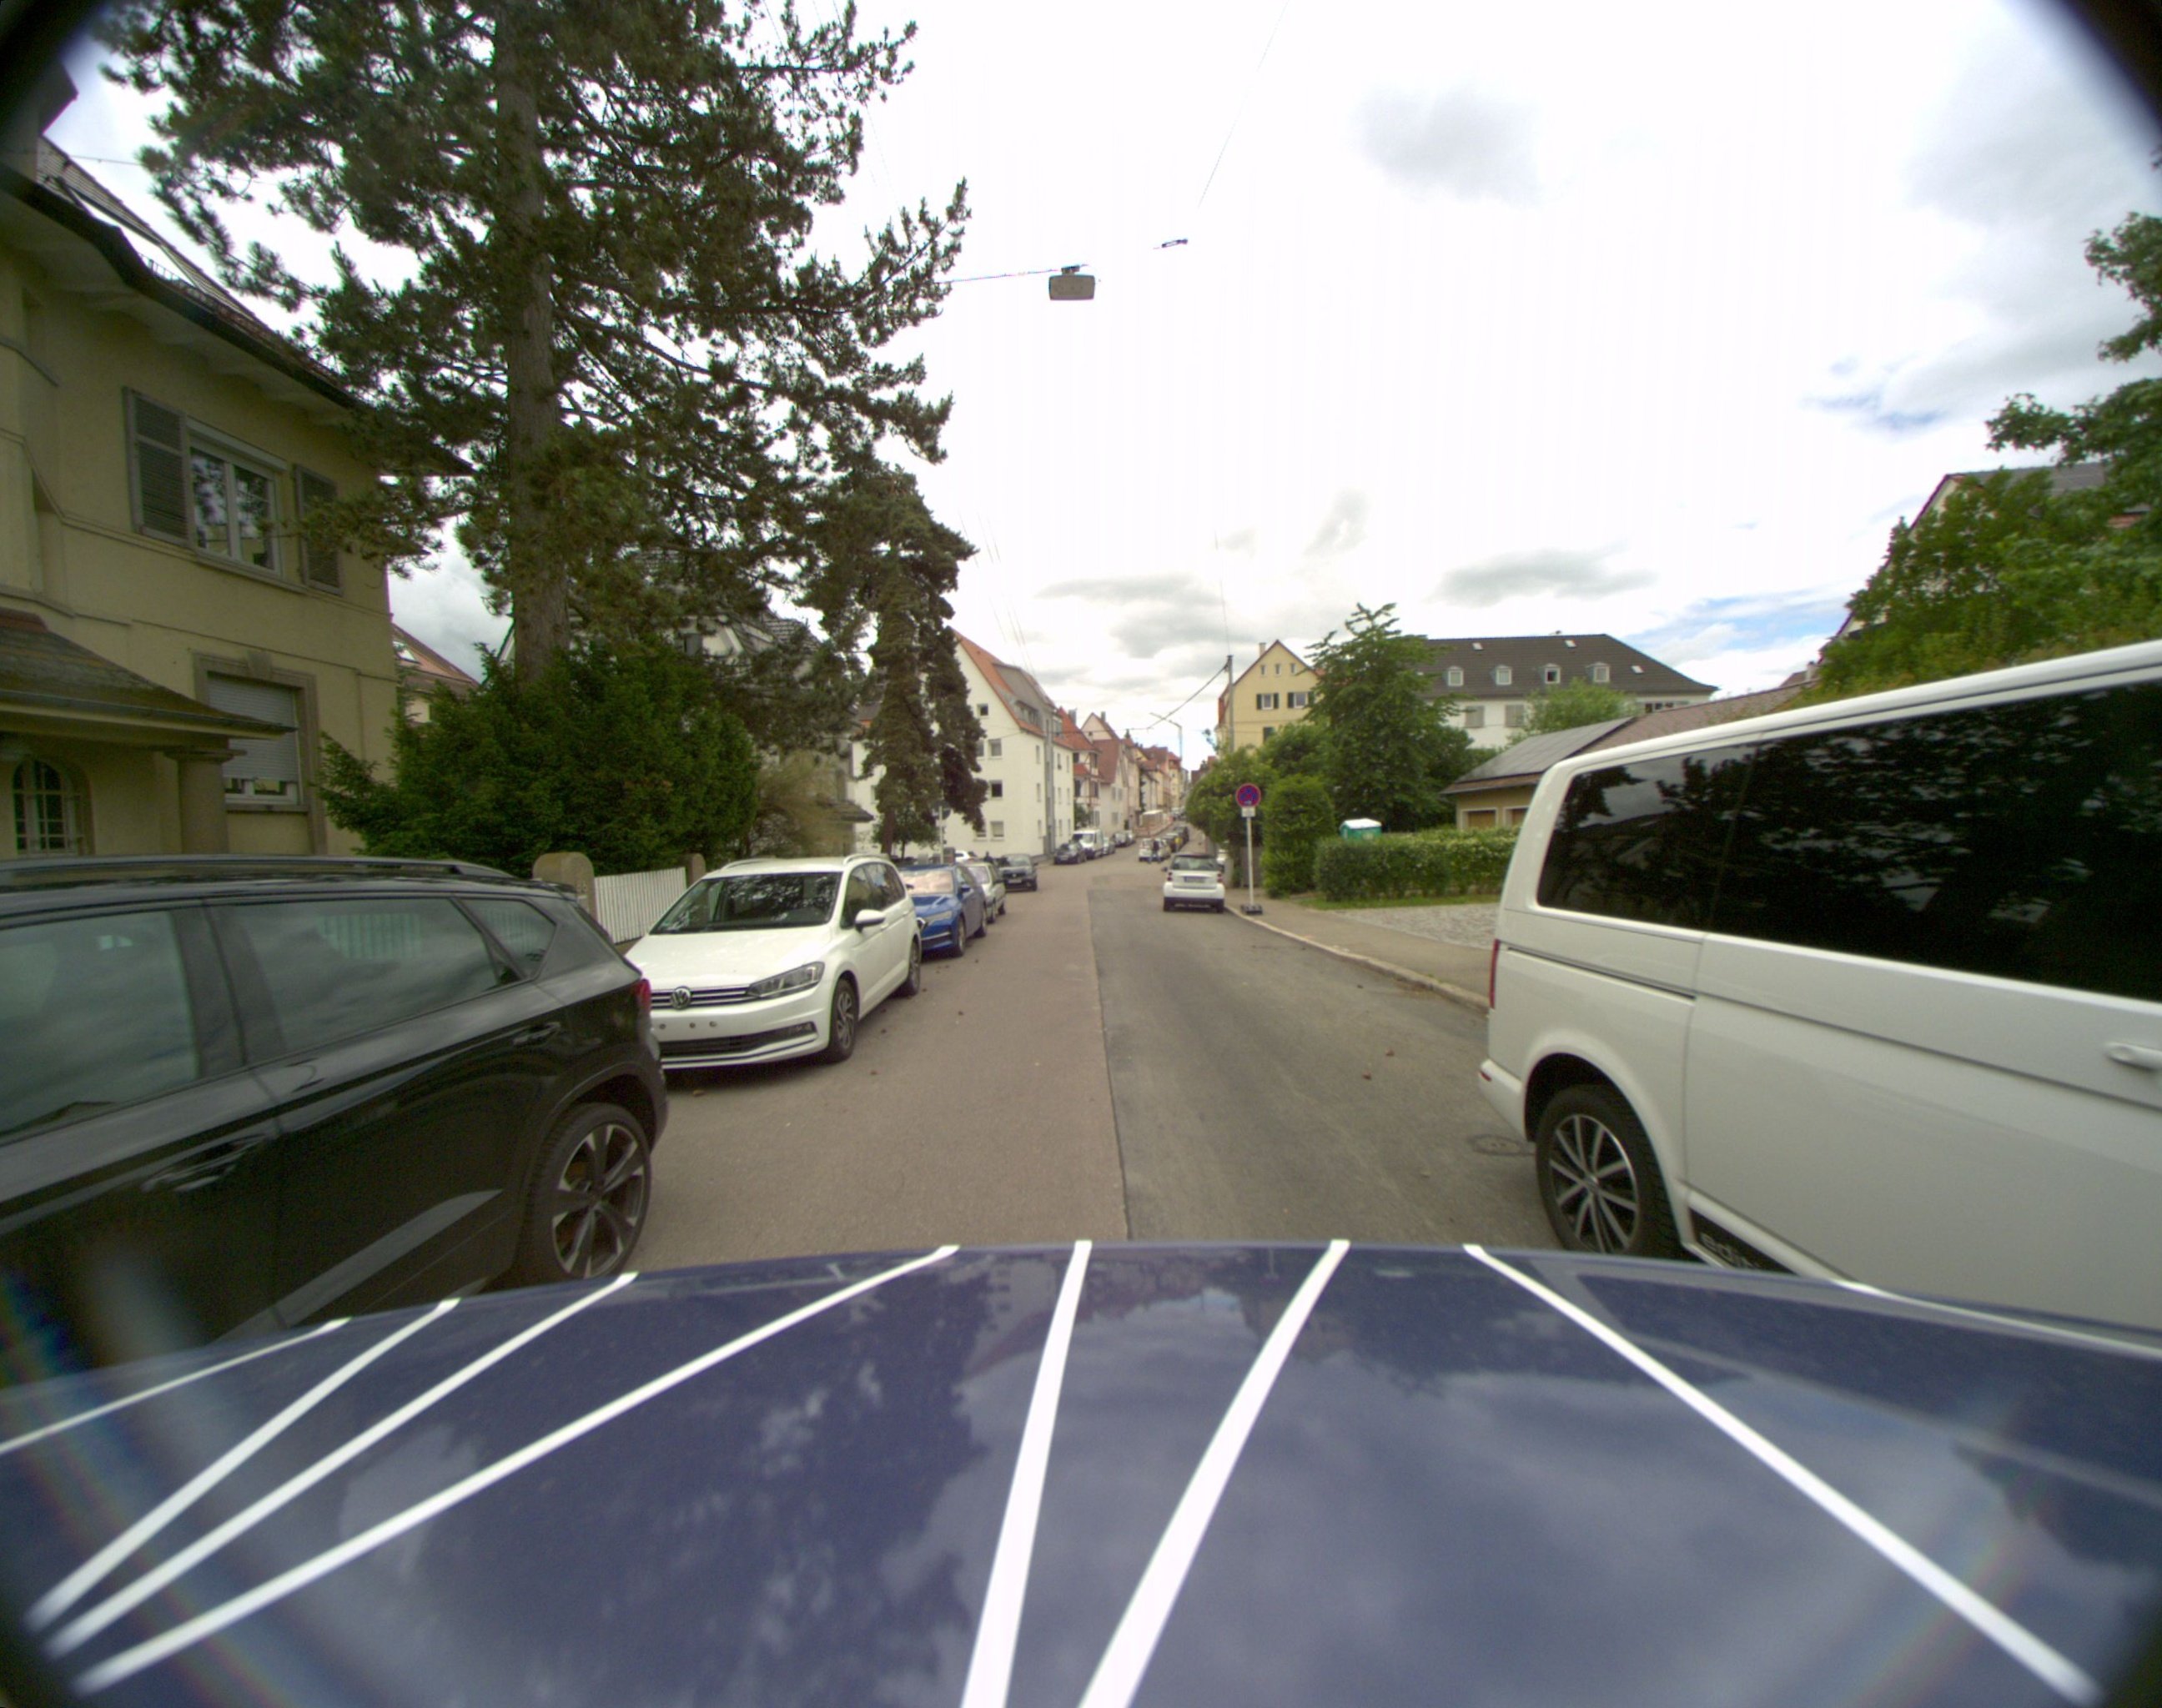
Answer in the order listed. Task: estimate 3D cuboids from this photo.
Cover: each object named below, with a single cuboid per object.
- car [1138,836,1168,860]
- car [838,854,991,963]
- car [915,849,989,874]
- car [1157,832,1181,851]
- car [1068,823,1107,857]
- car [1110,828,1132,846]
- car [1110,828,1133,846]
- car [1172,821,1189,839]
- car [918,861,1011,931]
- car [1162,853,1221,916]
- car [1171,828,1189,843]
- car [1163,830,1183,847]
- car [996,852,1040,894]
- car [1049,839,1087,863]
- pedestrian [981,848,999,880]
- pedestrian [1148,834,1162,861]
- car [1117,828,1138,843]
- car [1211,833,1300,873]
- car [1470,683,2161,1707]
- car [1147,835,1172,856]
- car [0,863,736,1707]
[{"bbox_3d":[5.402,-0.461,56.621,1.807,1.650,4.153,0,2,11],"label":"car"},{"bbox_3d":[-2.685,0.802,13.190,1.651,1.450,4.051,-3,1,1],"label":"car"},{"bbox_3d":[-8.443,0.465,49.904,4.352,1.442,1.765,-2,1,13],"label":"car"},{"bbox_3d":[8.140,-1.170,70.172,1.805,1.472,4.329,0,4,11],"label":"car"},{"bbox_3d":[0.601,-1.178,60.836,1.996,2.409,5.294,0,4,12],"label":"car"},{"bbox_3d":[4.138,-1.766,77.656,1.607,1.482,4.023,-2,4,11],"label":"car"},{"bbox_3d":[4.148,-1.752,77.593,1.780,1.711,4.001,-1,2,10],"label":"car"},{"bbox_3d":[11.046,-2.655,84.013,1.752,1.788,4.149,0,5,9],"label":"car"},{"bbox_3d":[-2.700,0.925,18.326,1.577,1.392,3.655,-3,1,1],"label":"car"},{"bbox_3d":[3.005,0.783,20.906,1.445,1.543,2.771,2,1,7],"label":"car"},{"bbox_3d":[10.264,-1.925,78.760,1.641,1.391,3.704,0,4,11],"label":"car"},{"bbox_3d":[9.071,-1.532,74.832,1.641,1.421,4.123,1,5,11],"label":"car"},{"bbox_3d":[-2.553,0.746,31.314,1.576,1.523,2.867,-4,1,-2],"label":"car"},{"bbox_3d":[-0.875,-0.239,54.044,1.821,1.478,4.288,-1,3,10],"label":"car"},{"bbox_3d":[-4.643,0.497,38.800,0.682,1.568,0.906,1,3,6],"label":"pedestrian"},{"bbox_3d":[4.876,-0.422,50.166,0.822,1.750,0.644,-3,2,5],"label":"pedestrian"},{"bbox_3d":[5.076,-2.024,82.564,1.628,1.385,4.236,-2,4,11],"label":"car"},{"bbox_3d":[8.880,-0.072,38.491,4.521,1.646,1.830,-5,3,-36],"label":"car"},{"bbox_3d":[2.614,0.699,0.976,1.859,1.902,4.619,1,1,1],"label":"car"},{"bbox_3d":[6.327,-0.715,60.995,1.609,1.445,3.615,2,4,11],"label":"car"},{"bbox_3d":[-2.347,0.914,1.069,1.754,1.599,4.075,-3,1,0],"label":"car"}]
